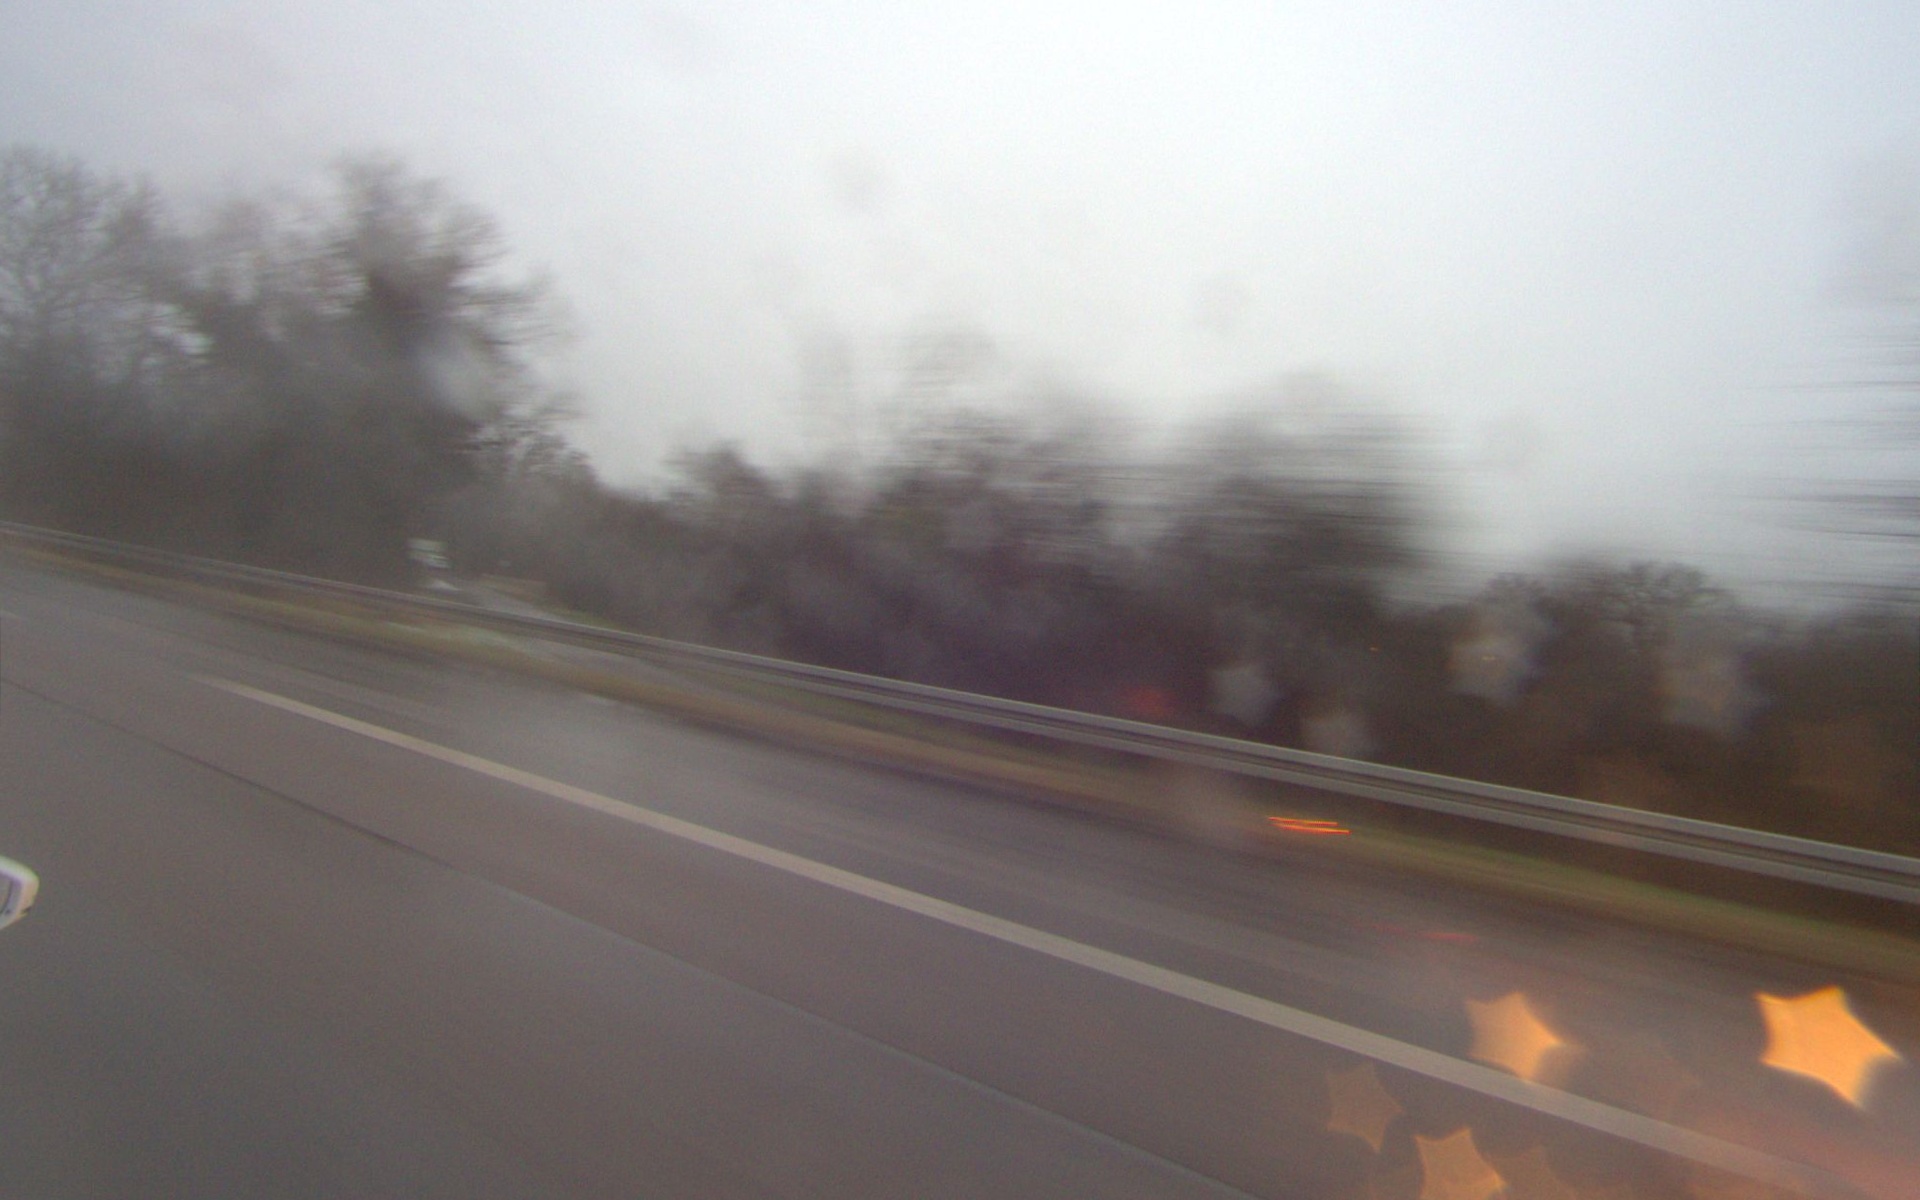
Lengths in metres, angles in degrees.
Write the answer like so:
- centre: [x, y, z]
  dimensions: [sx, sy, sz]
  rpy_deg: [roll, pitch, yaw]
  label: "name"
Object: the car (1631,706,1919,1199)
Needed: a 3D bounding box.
- centre: [2.961, 1.137, 1.090]
  dimensions: [3.534, 1.509, 1.597]
  rpy_deg: [7, -1, 32]
  label: "car"
